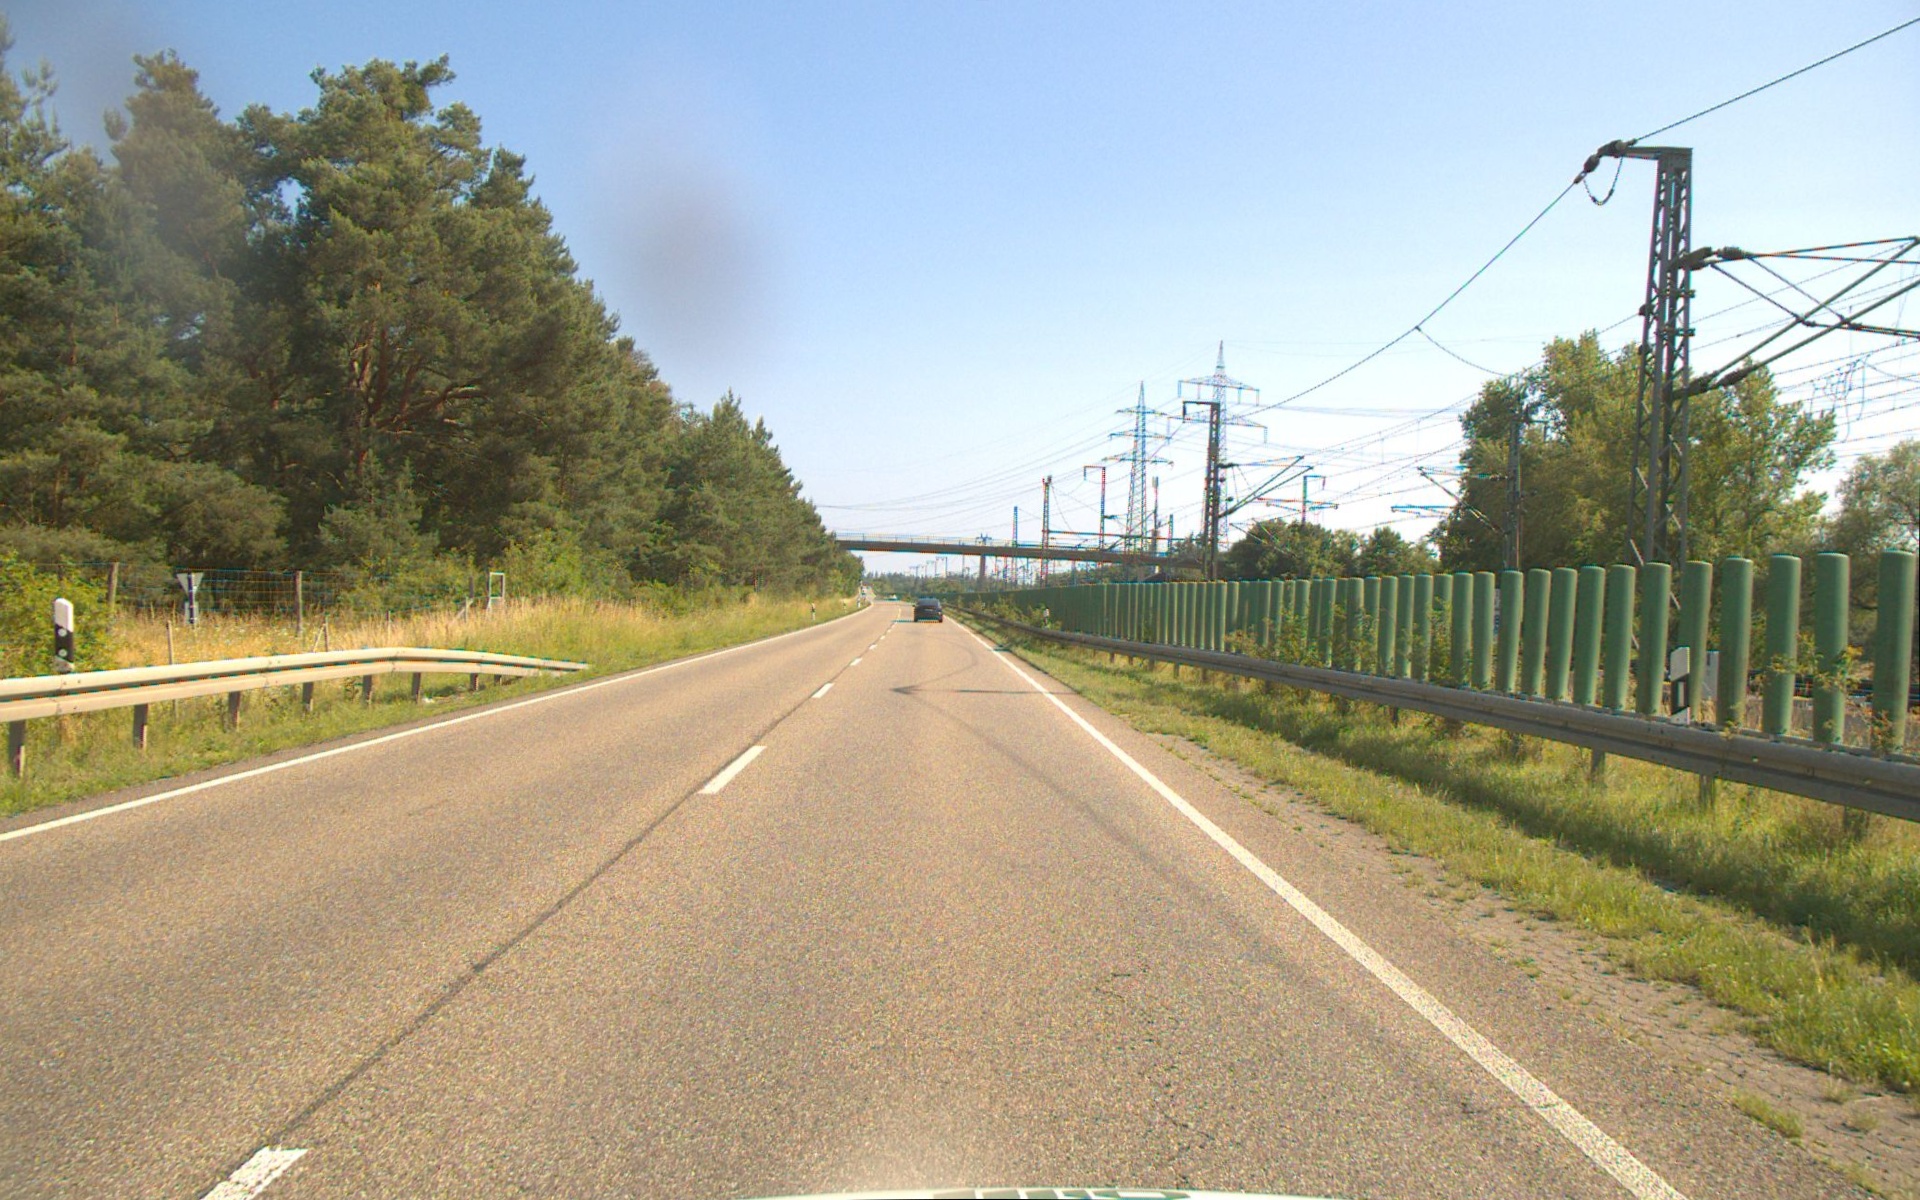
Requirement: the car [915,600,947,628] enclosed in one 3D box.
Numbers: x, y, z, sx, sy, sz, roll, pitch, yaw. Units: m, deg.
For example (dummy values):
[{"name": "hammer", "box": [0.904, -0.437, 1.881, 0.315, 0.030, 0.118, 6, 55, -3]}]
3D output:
[{"name": "car", "box": [-1.831, 0.869, 103.335, 1.822, 1.670, 3.997, 0, 0, -3]}]
